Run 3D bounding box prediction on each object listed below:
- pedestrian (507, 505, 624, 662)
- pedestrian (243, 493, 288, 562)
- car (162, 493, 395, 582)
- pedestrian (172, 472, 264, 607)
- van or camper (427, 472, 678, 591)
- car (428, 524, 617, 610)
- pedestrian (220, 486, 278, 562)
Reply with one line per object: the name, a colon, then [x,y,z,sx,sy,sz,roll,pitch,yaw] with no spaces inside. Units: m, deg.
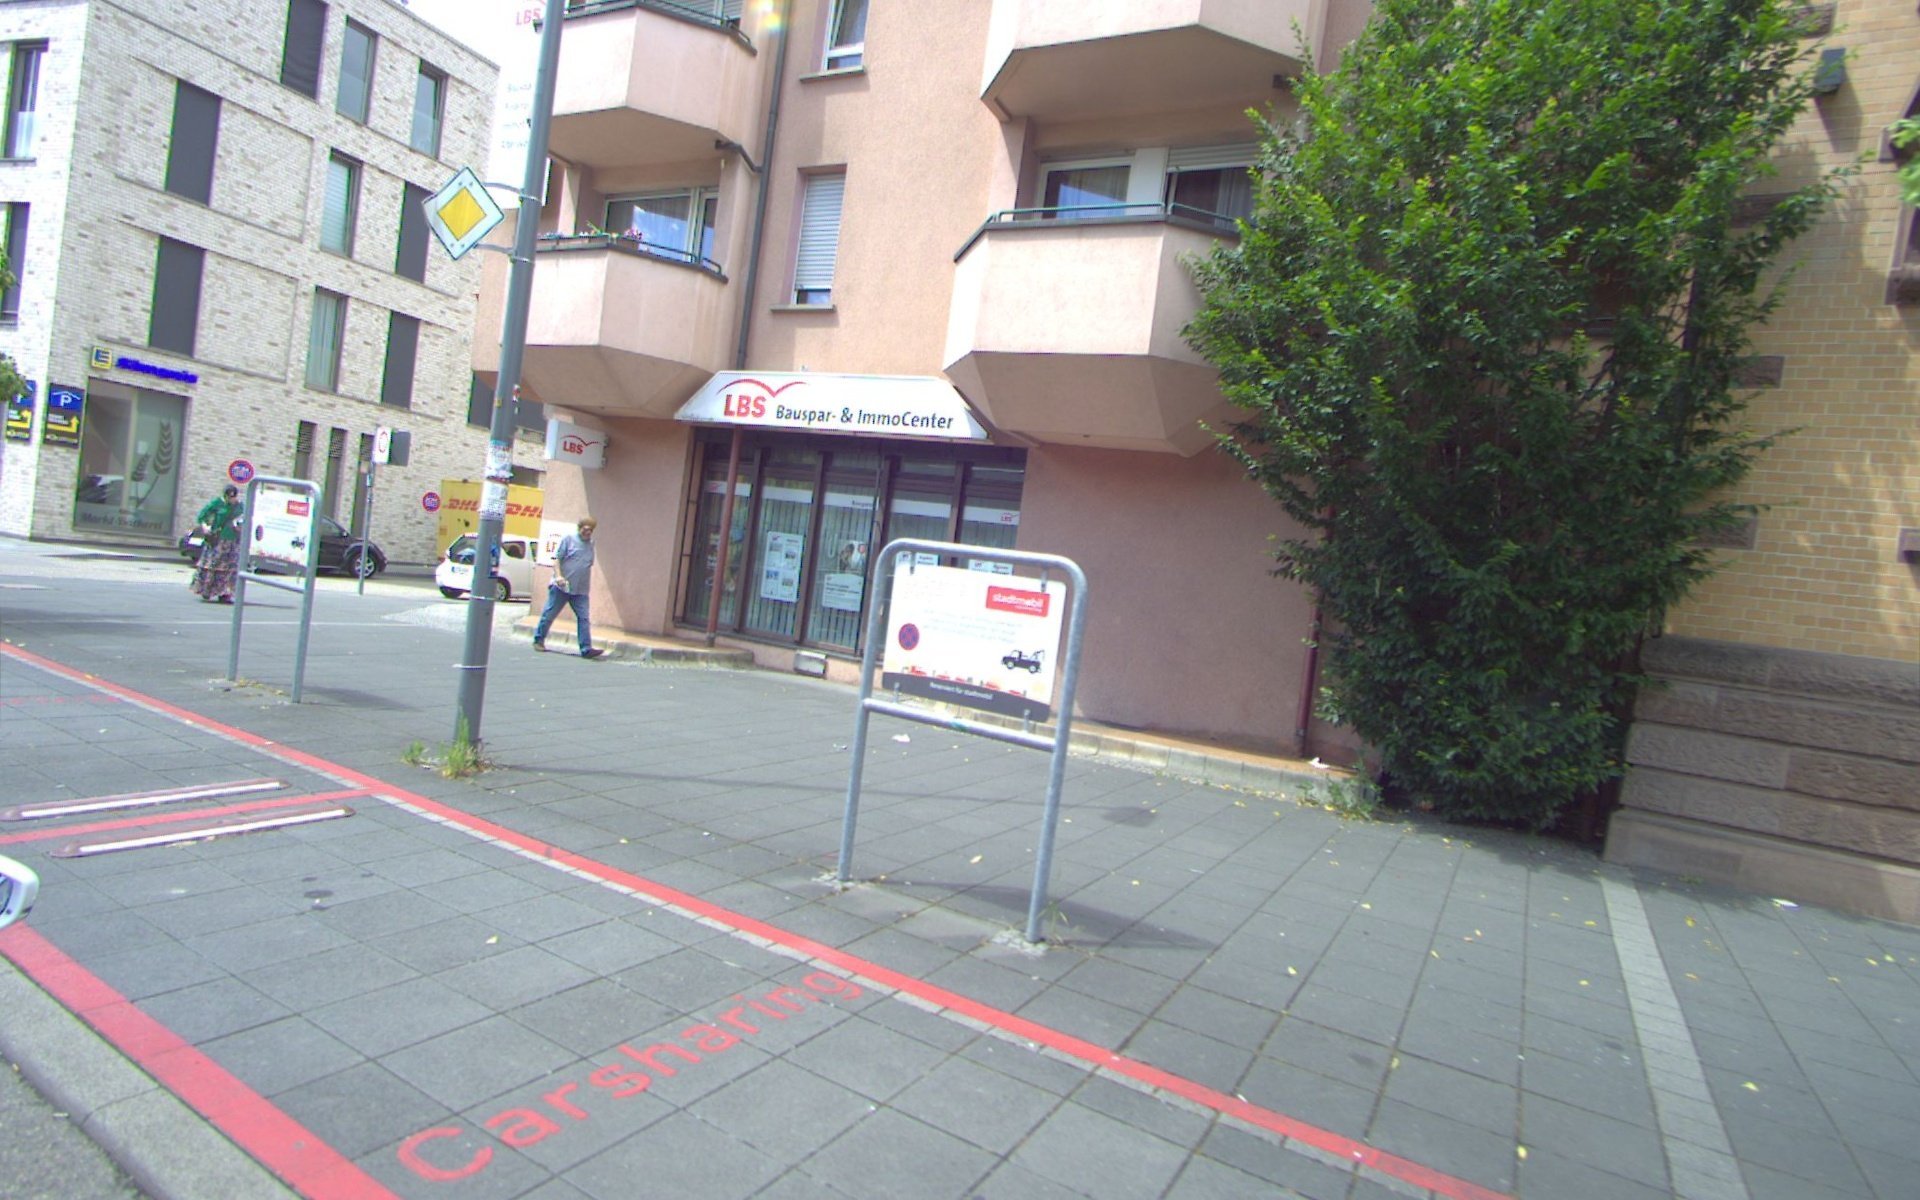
pedestrian: [-4.615,-0.188,11.774,0.928,1.707,0.717,6,2,27]
pedestrian: [-17.100,-1.777,24.779,0.592,1.592,0.522,6,0,-3]
car: [-15.161,-1.349,22.598,1.752,1.496,3.899,8,2,27]
pedestrian: [-9.876,-0.806,13.424,0.737,1.661,0.920,5,4,-26]
van or camper: [-11.617,-1.841,29.423,2.237,2.772,6.862,6,2,28]
car: [-9.472,-0.670,22.005,1.689,1.496,3.384,8,2,29]
pedestrian: [-17.053,-1.811,24.143,0.801,1.691,0.555,6,0,-3]
